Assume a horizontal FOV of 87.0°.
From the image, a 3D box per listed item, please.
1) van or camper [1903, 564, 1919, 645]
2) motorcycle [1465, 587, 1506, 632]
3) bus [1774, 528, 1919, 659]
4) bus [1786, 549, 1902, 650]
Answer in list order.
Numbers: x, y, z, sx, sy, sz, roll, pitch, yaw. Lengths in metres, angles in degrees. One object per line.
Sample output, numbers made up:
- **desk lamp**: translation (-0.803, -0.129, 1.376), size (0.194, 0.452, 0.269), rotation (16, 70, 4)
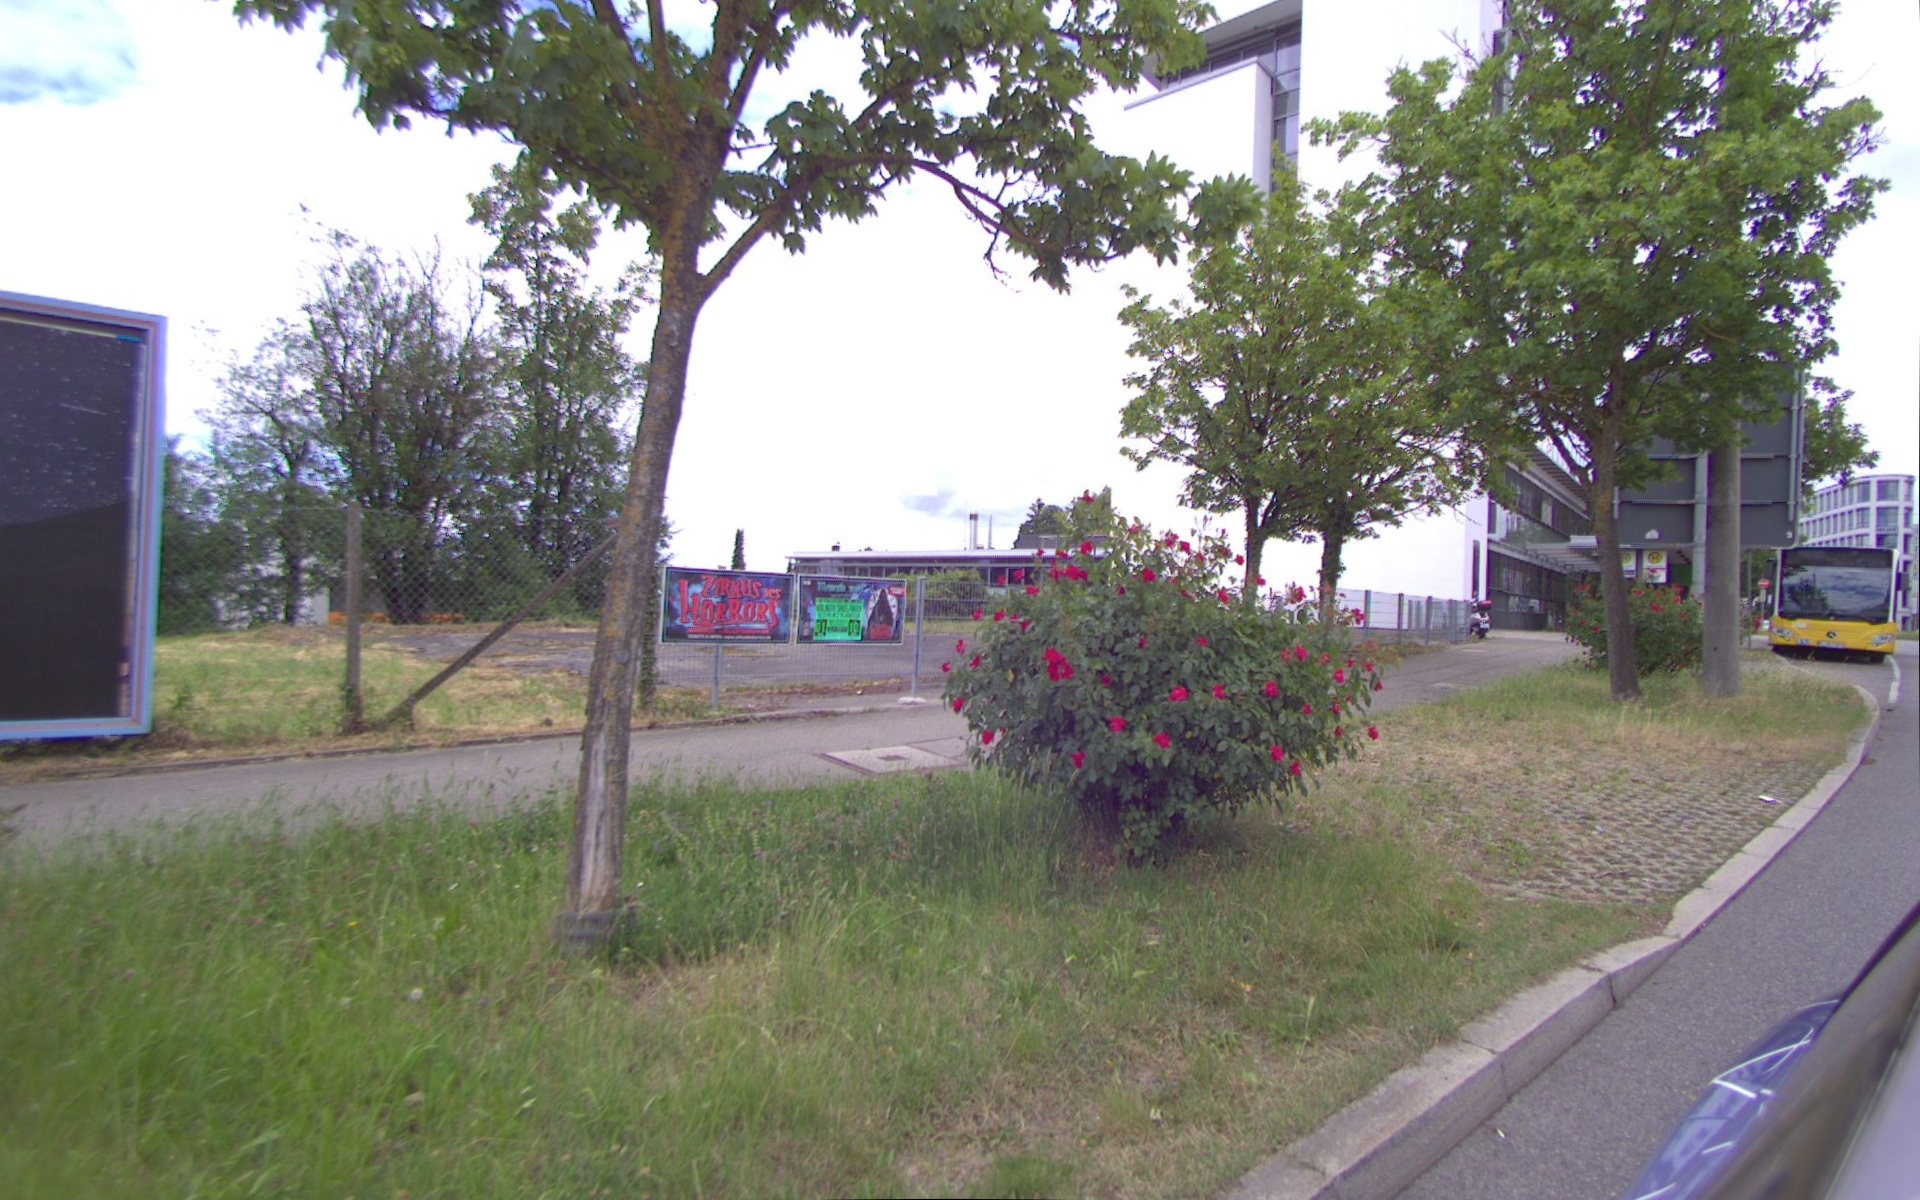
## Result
- **van or camper**: translation (32.822, 0.188, 32.672), size (2.265, 2.740, 6.911), rotation (2, 1, 33)
- **motorcycle**: translation (15.076, 0.262, 29.050), size (0.574, 1.237, 1.577), rotation (1, 1, 10)
- **bus**: translation (25.590, -0.178, 29.290), size (2.711, 3.202, 8.991), rotation (4, 2, 41)
- **bus**: translation (31.399, -0.026, 35.957), size (2.711, 3.147, 8.735), rotation (3, 1, 42)
